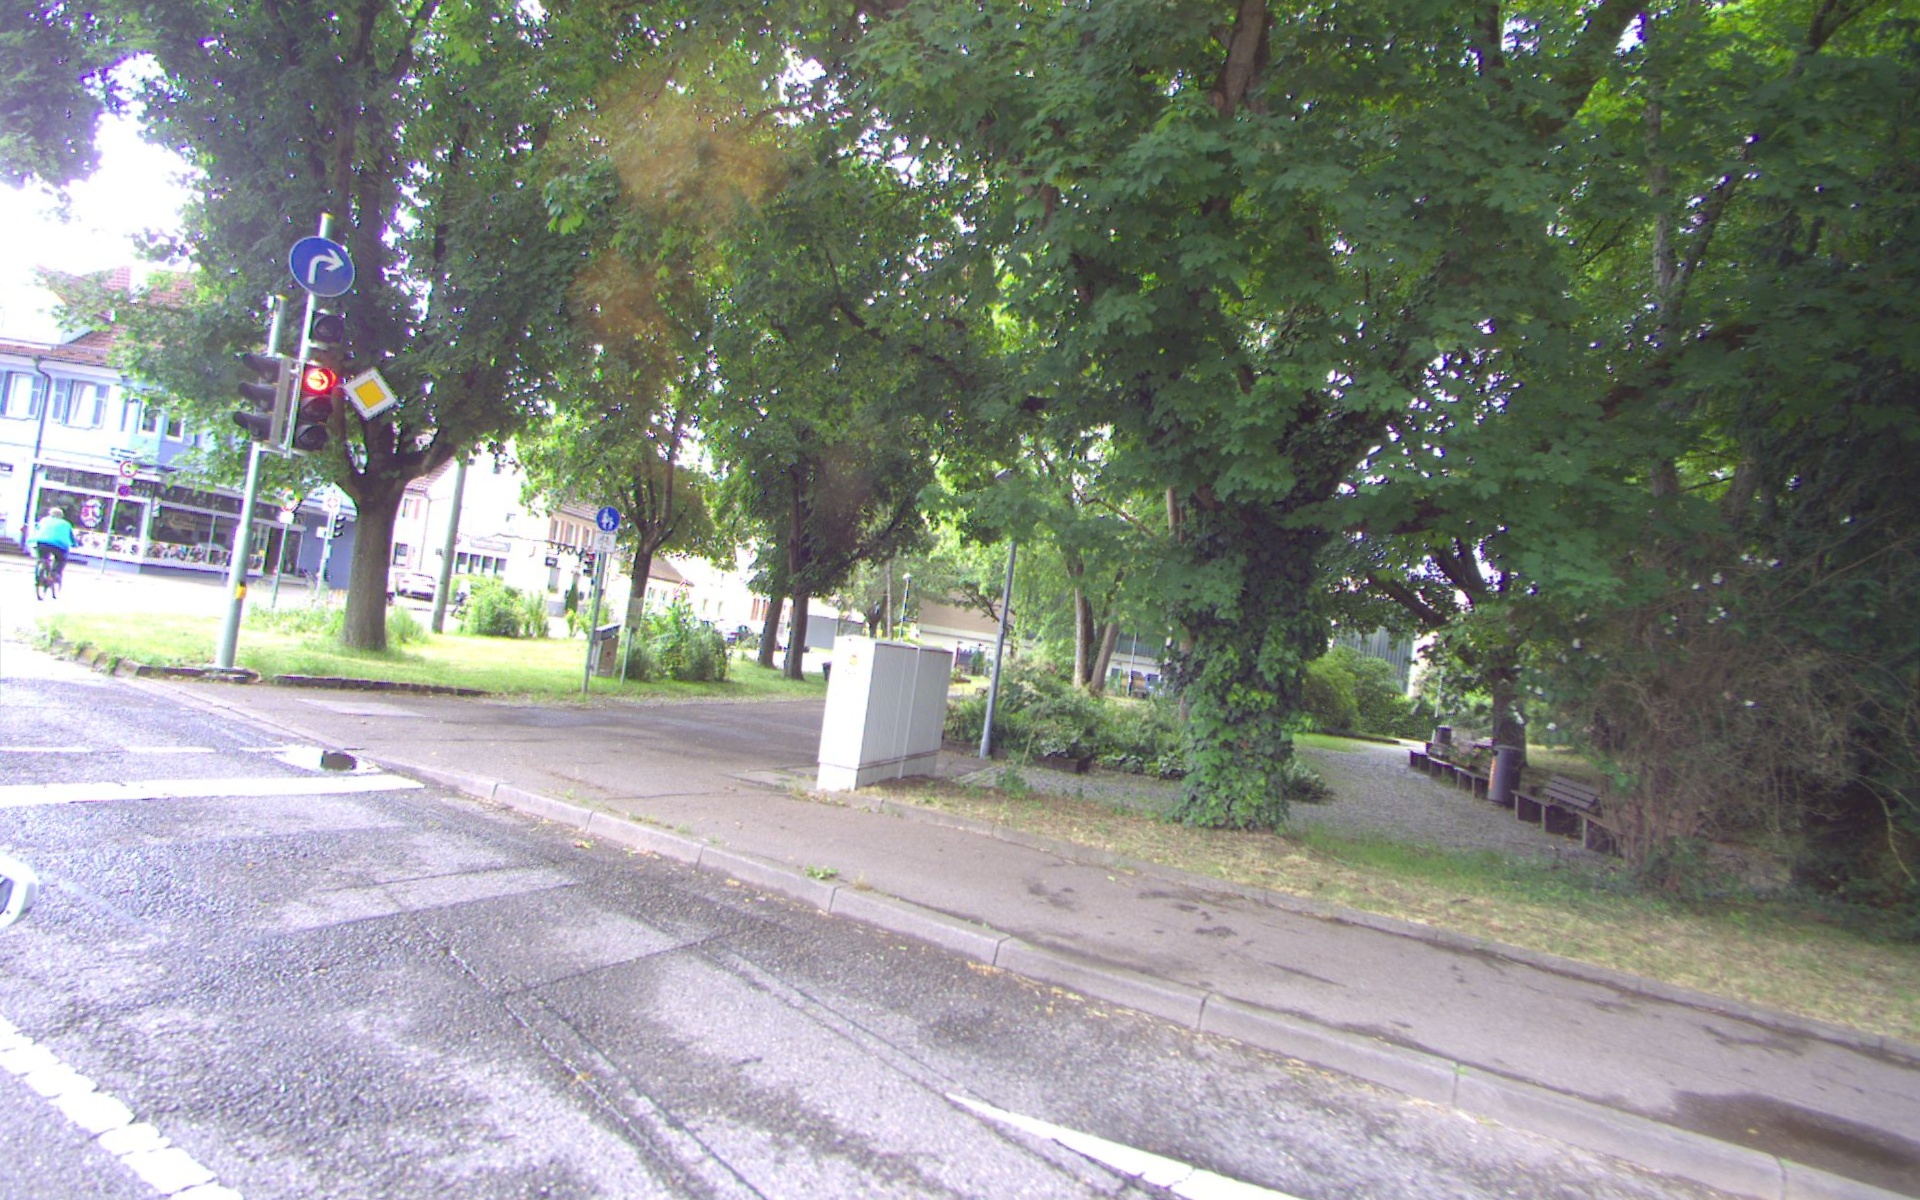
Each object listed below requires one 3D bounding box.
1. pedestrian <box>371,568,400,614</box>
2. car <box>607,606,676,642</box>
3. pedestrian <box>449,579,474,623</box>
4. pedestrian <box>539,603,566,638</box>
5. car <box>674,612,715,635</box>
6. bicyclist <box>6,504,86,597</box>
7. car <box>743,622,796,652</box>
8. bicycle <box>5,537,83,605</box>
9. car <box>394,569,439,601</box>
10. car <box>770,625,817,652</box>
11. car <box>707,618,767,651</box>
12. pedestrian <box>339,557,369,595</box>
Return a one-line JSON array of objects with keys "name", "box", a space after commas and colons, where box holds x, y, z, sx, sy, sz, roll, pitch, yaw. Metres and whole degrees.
[{"name": "pedestrian", "box": [-20.862, -0.336, 36.542, 0.725, 1.578, 0.763, 8, -1, -27]}, {"name": "car", "box": [-13.926, 1.096, 44.149, 1.436, 1.282, 3.014, 7, -2, 13]}, {"name": "pedestrian", "box": [-19.177, 0.039, 38.706, 0.688, 1.578, 0.662, 8, -1, -27]}, {"name": "pedestrian", "box": [-13.445, 0.682, 33.166, 0.506, 1.093, 0.507, 7, -1, 17]}, {"name": "car", "box": [-19.714, 1.770, 74.776, 1.736, 1.463, 3.865, 7, -2, 2]}, {"name": "bicyclist", "box": [-17.971, -0.967, 19.811, 0.911, 1.670, 0.978, 8, -2, -38]}, {"name": "car", "box": [-11.317, 2.253, 60.075, 1.618, 1.474, 3.740, 7, -2, 13]}, {"name": "bicycle", "box": [-18.093, -0.594, 19.922, 0.870, 1.162, 1.933, 9, -2, -38]}, {"name": "car", "box": [-28.758, -0.804, 53.250, 1.870, 1.406, 3.589, 9, -2, -29]}, {"name": "car", "box": [-10.917, 2.568, 66.208, 1.618, 1.474, 3.740, 7, -2, 13]}, {"name": "car", "box": [-12.158, 1.930, 55.098, 1.618, 1.474, 3.740, 7, -2, 13]}, {"name": "pedestrian", "box": [-27.409, -1.091, 45.487, 0.732, 1.578, 0.673, 7, -1, 17]}]
